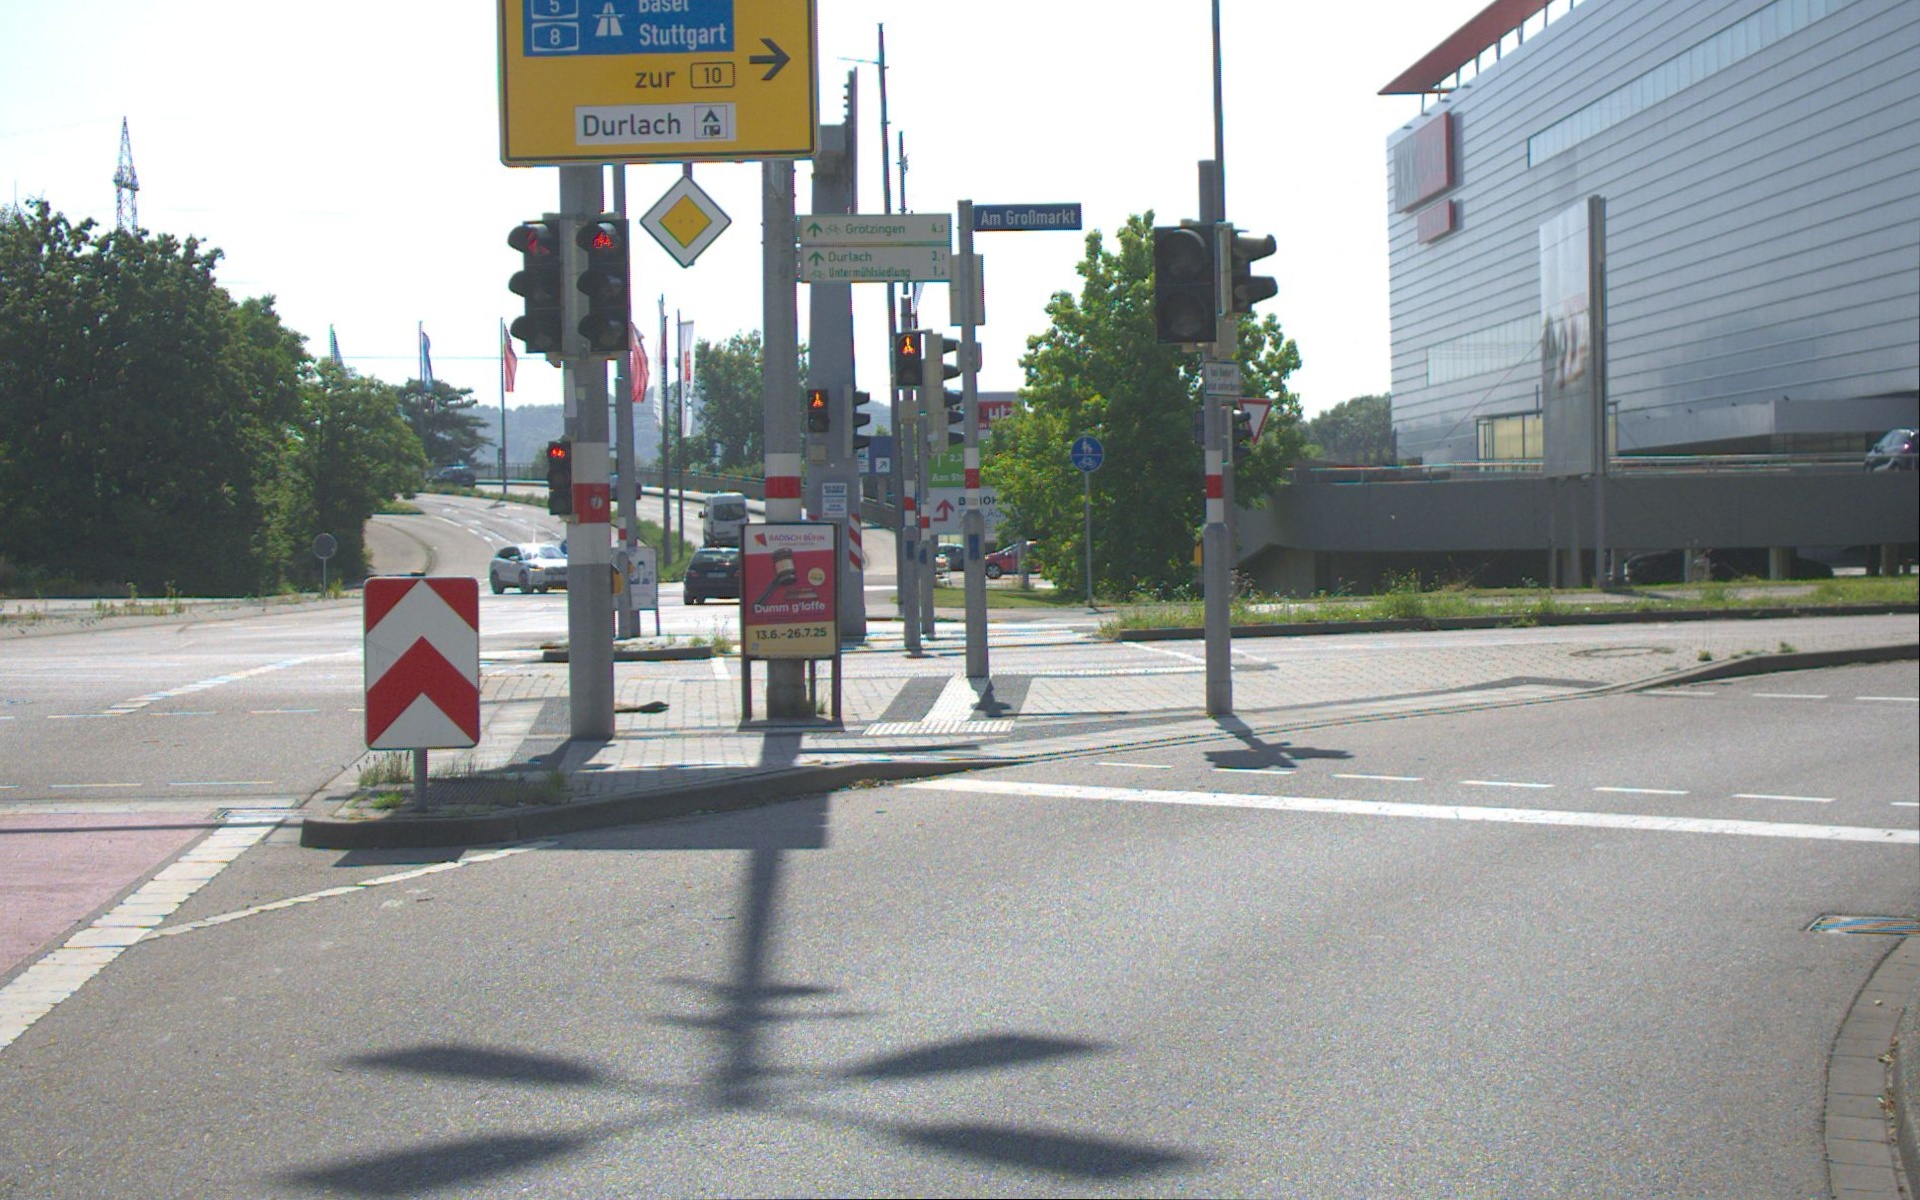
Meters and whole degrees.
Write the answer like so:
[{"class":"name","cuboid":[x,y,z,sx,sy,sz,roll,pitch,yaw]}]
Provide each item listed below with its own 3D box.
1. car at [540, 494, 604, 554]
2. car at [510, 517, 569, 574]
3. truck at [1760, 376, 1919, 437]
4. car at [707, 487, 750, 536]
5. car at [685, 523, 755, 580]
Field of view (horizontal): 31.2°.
[{"class":"car","cuboid":[-13.666,-2.690,121.202,1.993,2.006,3.982,1,3,-4]},{"class":"car","cuboid":[-13.725,-1.793,112.314,1.760,1.787,3.348,-2,2,-5]},{"class":"truck","cuboid":[31.201,-6.745,120.163,5.909,2.006,2.000,1,2,-2]},{"class":"car","cuboid":[-11.388,-4.385,169.321,1.993,2.313,4.001,1,3,-2]},{"class":"car","cuboid":[-6.257,-1.282,89.820,1.688,1.354,4.001,1,3,-2]}]
